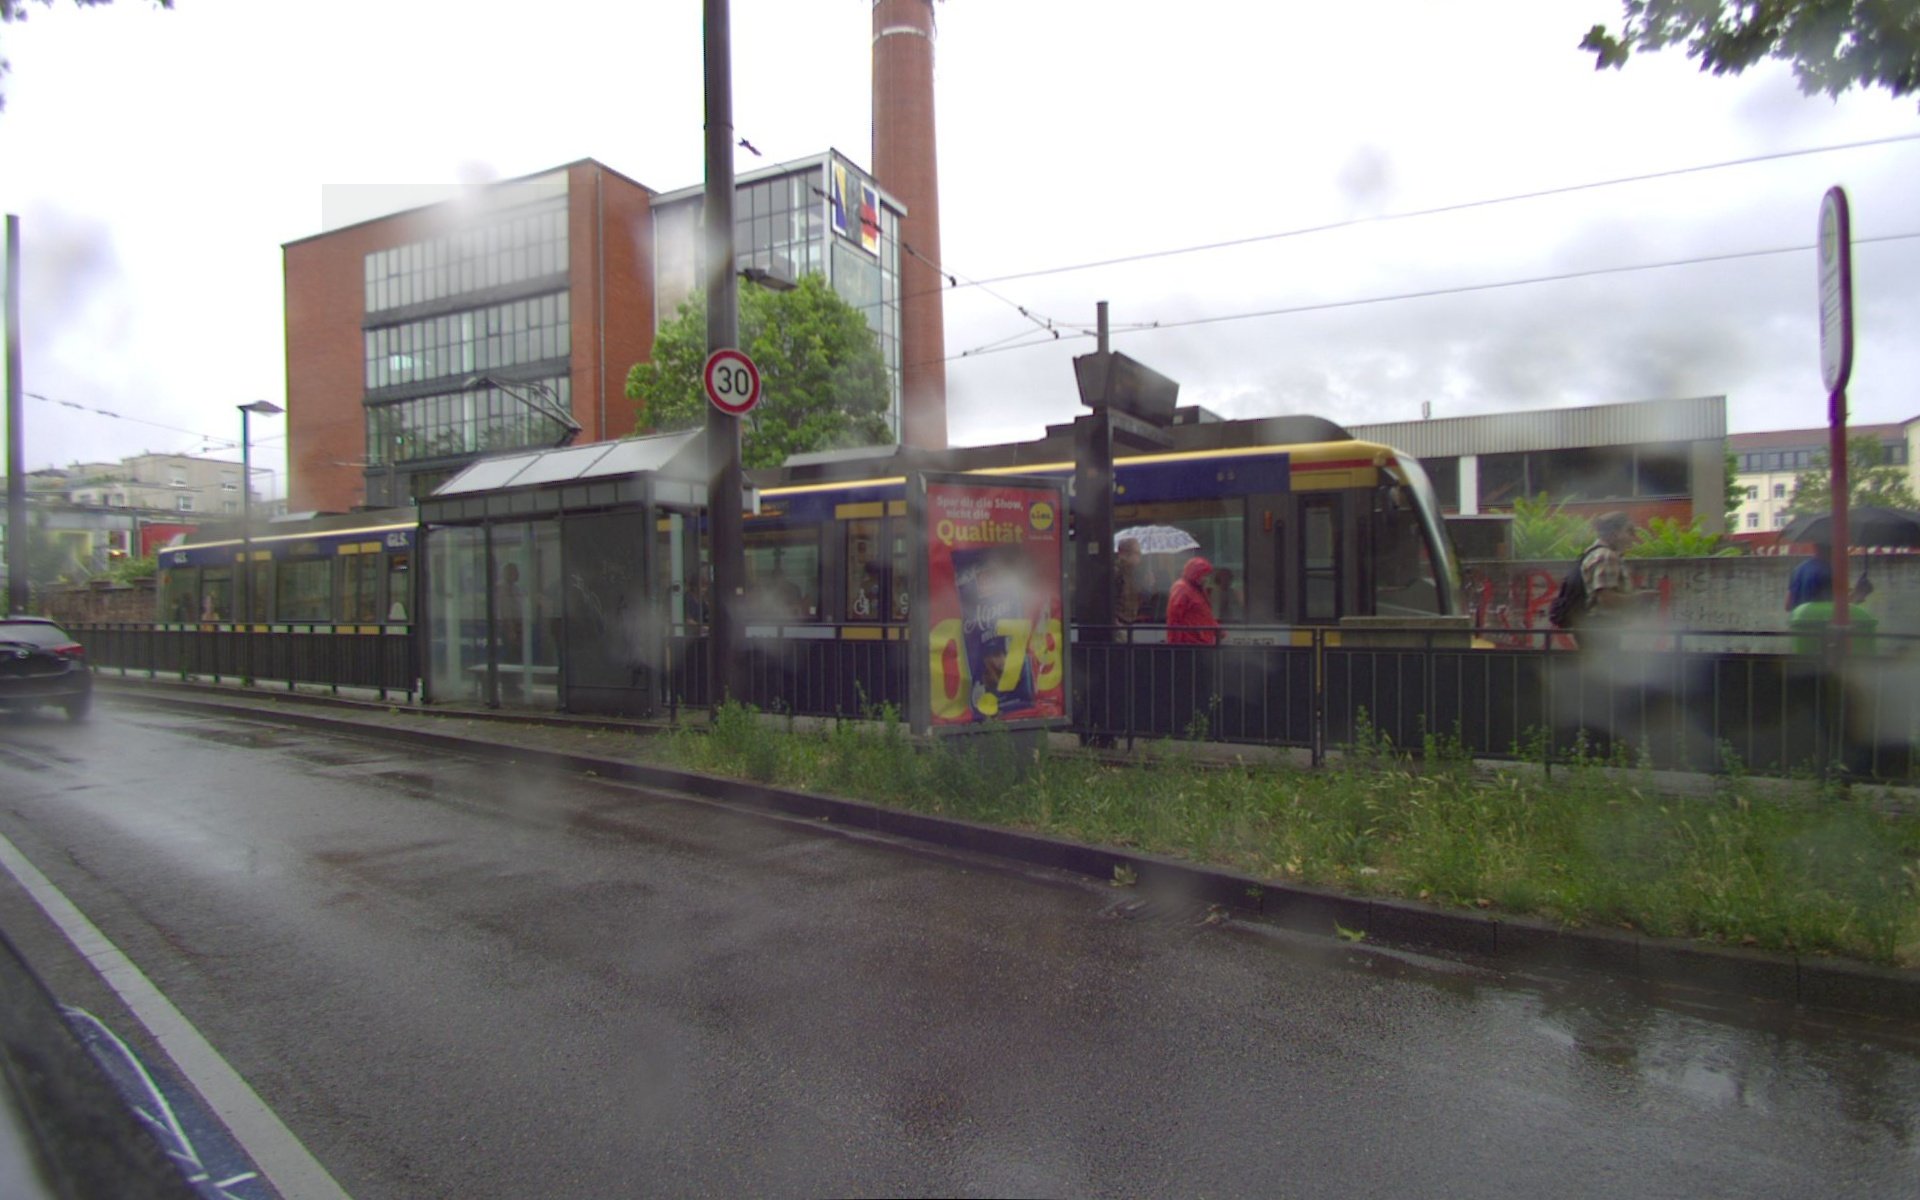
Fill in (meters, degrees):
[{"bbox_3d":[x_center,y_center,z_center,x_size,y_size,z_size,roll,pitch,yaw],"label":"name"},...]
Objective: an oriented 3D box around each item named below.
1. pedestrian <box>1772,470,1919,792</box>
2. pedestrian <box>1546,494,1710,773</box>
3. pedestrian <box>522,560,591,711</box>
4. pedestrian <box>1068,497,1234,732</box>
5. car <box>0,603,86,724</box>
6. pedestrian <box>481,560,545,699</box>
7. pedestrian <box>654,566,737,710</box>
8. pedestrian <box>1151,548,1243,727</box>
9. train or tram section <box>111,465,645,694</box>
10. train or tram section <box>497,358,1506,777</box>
[{"bbox_3d":[5.752,0.180,6.322,0.888,1.878,0.863,-1,0,29],"label":"pedestrian"},{"bbox_3d":[4.563,0.218,6.986,0.827,1.768,0.859,-1,0,28],"label":"pedestrian"},{"bbox_3d":[-4.902,0.417,12.292,0.620,1.762,0.565,0,0,-41],"label":"pedestrian"},{"bbox_3d":[1.641,0.155,8.633,1.072,1.841,0.975,-4,-4,30],"label":"pedestrian"},{"bbox_3d":[-14.493,0.895,14.954,4.231,1.603,1.734,-1,0,40],"label":"car"},{"bbox_3d":[-5.808,0.371,13.147,0.620,1.762,0.515,0,0,-41],"label":"pedestrian"},{"bbox_3d":[-3.062,0.446,11.746,0.504,1.610,0.790,-4,-4,30],"label":"pedestrian"},{"bbox_3d":[2.196,0.354,9.456,0.651,1.584,0.797,-2,-3,4],"label":"pedestrian"},{"bbox_3d":[-12.915,-0.205,21.119,15.323,3.572,2.838,-1,0,32],"label":"train or tram section"},{"bbox_3d":[-0.611,-0.179,13.403,13.666,3.572,2.839,-1,0,31],"label":"train or tram section"}]
